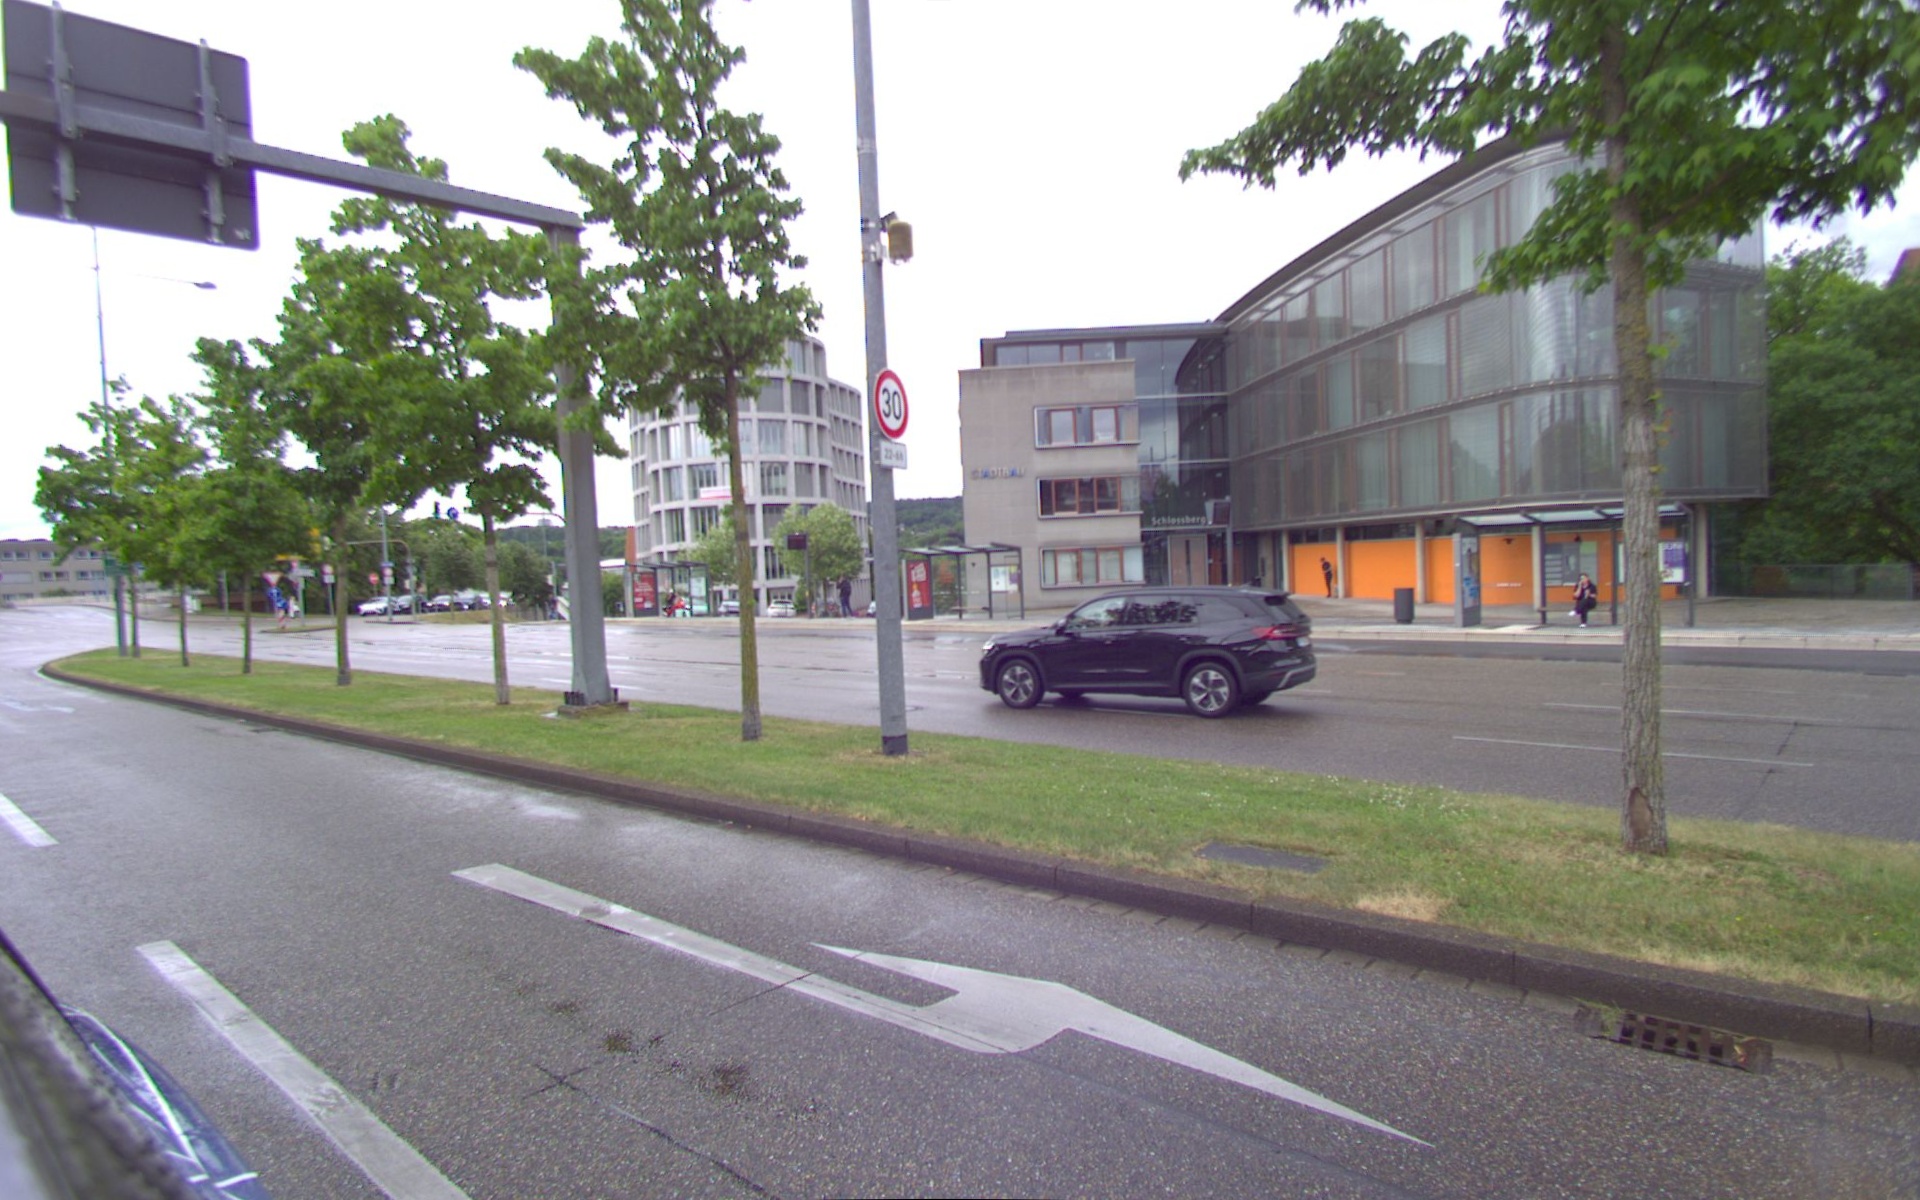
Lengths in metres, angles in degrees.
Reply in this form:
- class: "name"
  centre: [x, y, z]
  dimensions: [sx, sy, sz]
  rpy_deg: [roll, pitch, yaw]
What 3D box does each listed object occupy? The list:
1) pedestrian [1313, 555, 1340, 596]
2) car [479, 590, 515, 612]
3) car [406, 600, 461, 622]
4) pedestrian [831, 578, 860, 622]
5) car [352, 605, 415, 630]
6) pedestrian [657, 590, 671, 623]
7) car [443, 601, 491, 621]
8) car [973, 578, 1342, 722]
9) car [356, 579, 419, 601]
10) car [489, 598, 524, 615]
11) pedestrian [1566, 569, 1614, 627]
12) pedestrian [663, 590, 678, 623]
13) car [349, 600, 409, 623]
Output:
- class: "pedestrian"
  centre: [15.195, -1.005, 41.999]
  dimensions: [0.697, 1.666, 0.852]
  rpy_deg: [-1, 0, -6]
- class: "car"
  centre: [-45.719, 0.124, 100.010]
  dimensions: [1.969, 2.029, 4.005]
  rpy_deg: [-1, -1, -6]
- class: "car"
  centre: [-44.266, 0.911, 85.228]
  dimensions: [2.164, 1.725, 4.919]
  rpy_deg: [-1, 0, -3]
- class: "pedestrian"
  centre: [-4.669, -0.002, 41.241]
  dimensions: [0.964, 1.773, 0.783]
  rpy_deg: [-1, 0, 12]
- class: "car"
  centre: [-43.596, 1.311, 76.698]
  dimensions: [2.164, 1.725, 4.919]
  rpy_deg: [-1, 0, -3]
- class: "pedestrian"
  centre: [-14.725, 0.315, 50.329]
  dimensions: [0.501, 1.647, 0.497]
  rpy_deg: [-1, 0, 41]
- class: "car"
  centre: [-45.301, 1.021, 93.151]
  dimensions: [2.164, 1.725, 4.920]
  rpy_deg: [-1, 0, -3]
- class: "car"
  centre: [2.586, 0.604, 13.786]
  dimensions: [4.588, 1.652, 1.806]
  rpy_deg: [-1, 0, 35]
- class: "car"
  centre: [-57.002, -0.953, 100.763]
  dimensions: [4.963, 2.029, 2.311]
  rpy_deg: [-1, 0, 0]
- class: "car"
  centre: [-47.703, 0.713, 106.408]
  dimensions: [2.161, 1.725, 4.926]
  rpy_deg: [-2, 0, -38]
- class: "pedestrian"
  centre: [14.613, -0.045, 23.477]
  dimensions: [0.790, 1.334, 0.793]
  rpy_deg: [-1, 0, 42]
- class: "pedestrian"
  centre: [-14.554, 0.309, 50.898]
  dimensions: [0.535, 1.647, 0.514]
  rpy_deg: [-1, 0, 41]
- class: "car"
  centre: [-46.575, 0.872, 81.260]
  dimensions: [2.164, 1.725, 4.919]
  rpy_deg: [-1, 0, -2]
